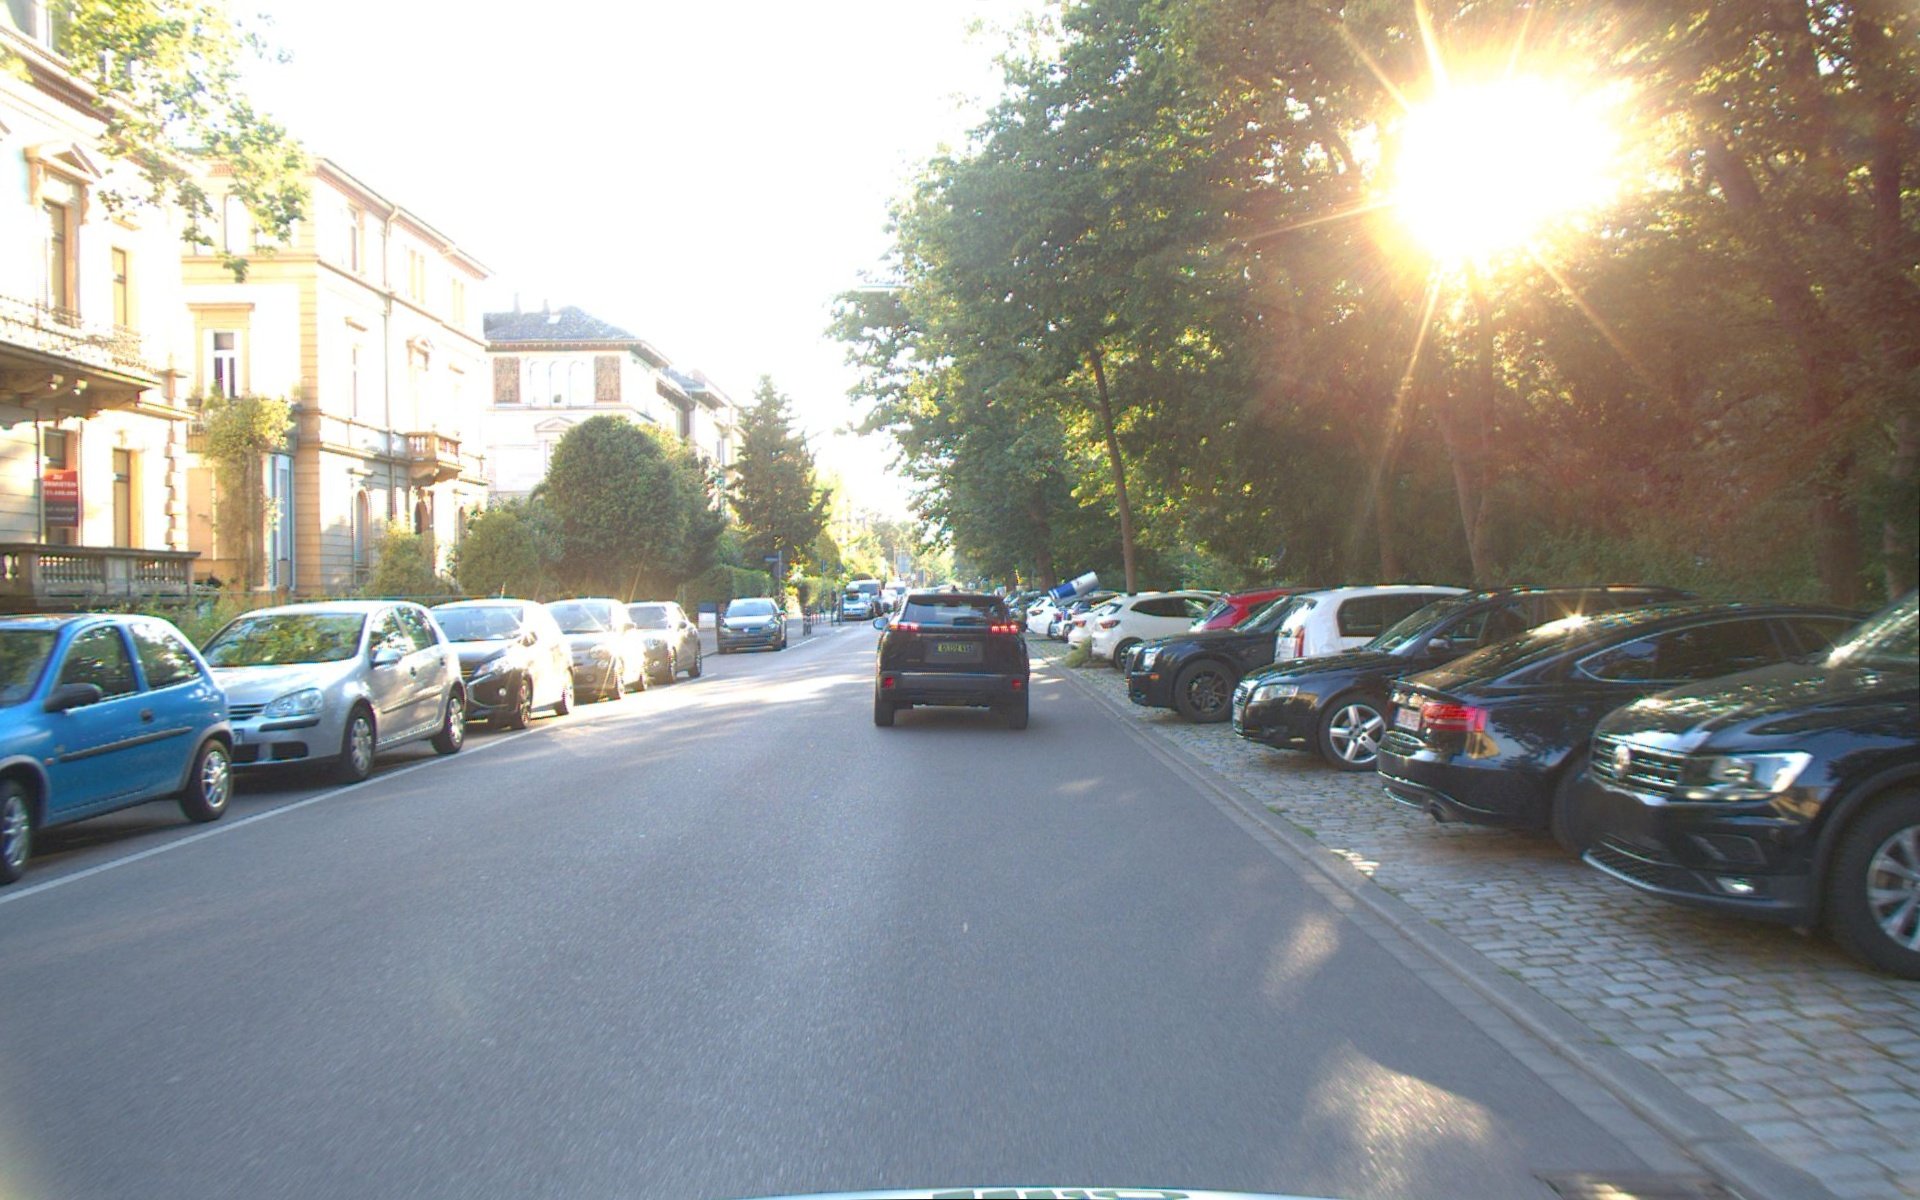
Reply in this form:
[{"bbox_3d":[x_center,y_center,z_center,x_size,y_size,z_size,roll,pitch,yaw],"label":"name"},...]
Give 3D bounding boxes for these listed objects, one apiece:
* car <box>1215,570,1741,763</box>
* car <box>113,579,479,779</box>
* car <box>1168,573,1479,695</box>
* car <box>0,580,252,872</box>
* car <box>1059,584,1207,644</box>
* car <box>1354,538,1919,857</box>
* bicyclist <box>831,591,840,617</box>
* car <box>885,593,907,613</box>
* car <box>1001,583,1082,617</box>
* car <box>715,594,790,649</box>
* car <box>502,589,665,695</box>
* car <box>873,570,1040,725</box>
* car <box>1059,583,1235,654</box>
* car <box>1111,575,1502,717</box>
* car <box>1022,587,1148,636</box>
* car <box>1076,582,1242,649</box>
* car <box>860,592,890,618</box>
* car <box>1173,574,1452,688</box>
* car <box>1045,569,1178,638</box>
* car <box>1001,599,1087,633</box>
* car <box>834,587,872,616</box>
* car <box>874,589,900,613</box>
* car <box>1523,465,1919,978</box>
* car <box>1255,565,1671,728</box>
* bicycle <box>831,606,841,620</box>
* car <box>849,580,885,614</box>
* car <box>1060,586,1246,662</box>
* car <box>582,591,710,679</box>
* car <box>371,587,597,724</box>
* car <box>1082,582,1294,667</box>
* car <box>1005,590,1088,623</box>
[{"bbox_3d":[4.399,0.559,14.531,4.070,1.474,1.731,-2,0,3],"label":"car"},{"bbox_3d":[-5.626,0.609,14.578,1.580,1.492,4.035,-1,0,0],"label":"car"},{"bbox_3d":[4.870,0.443,22.504,3.733,1.474,1.875,-2,0,-5],"label":"car"},{"bbox_3d":[-5.776,0.671,9.801,1.581,1.511,3.741,-1,0,-1],"label":"car"},{"bbox_3d":[4.838,0.391,46.606,3.909,1.653,1.756,0,0,-5],"label":"car"},{"bbox_3d":[4.477,0.491,9.629,3.906,1.581,1.725,-2,0,-1],"label":"car"},{"bbox_3d":[-8.948,0.290,118.995,0.679,1.823,0.772,0,-1,-3],"label":"bicyclist"},{"bbox_3d":[-5.929,0.268,153.533,1.953,1.847,3.999,0,0,-1],"label":"car"},{"bbox_3d":[4.004,0.016,81.665,3.905,1.652,1.758,0,0,1],"label":"car"},{"bbox_3d":[-5.827,0.586,46.847,1.717,1.438,3.763,-2,0,-2],"label":"car"},{"bbox_3d":[-5.751,0.616,25.685,1.580,1.492,4.035,-1,0,0],"label":"car"},{"bbox_3d":[-0.137,0.506,19.782,1.736,1.596,4.106,2,0,-3],"label":"car"},{"bbox_3d":[4.421,0.428,39.492,3.909,1.653,1.756,0,0,-5],"label":"car"},{"bbox_3d":[4.015,0.521,19.696,4.158,1.474,2.020,-2,0,-3],"label":"car"},{"bbox_3d":[4.075,0.374,54.282,3.909,1.552,1.756,0,0,-5],"label":"car"},{"bbox_3d":[5.026,0.389,42.049,3.909,1.653,1.756,0,0,-5],"label":"car"},{"bbox_3d":[-5.890,0.365,114.667,1.953,1.799,3.999,0,0,-1],"label":"car"},{"bbox_3d":[5.268,0.460,25.016,3.733,1.536,1.824,-2,0,-5],"label":"car"},{"bbox_3d":[4.696,0.106,51.523,3.909,2.126,1.756,0,0,-5],"label":"car"},{"bbox_3d":[3.882,0.731,76.661,3.905,1.552,1.758,0,0,1],"label":"car"},{"bbox_3d":[-5.944,0.103,92.182,1.861,1.601,3.999,0,0,-1],"label":"car"},{"bbox_3d":[-5.748,0.101,130.454,1.953,1.847,3.999,0,0,-1],"label":"car"},{"bbox_3d":[4.791,0.375,6.945,4.159,1.820,1.883,-2,0,-1],"label":"car"},{"bbox_3d":[5.050,0.458,17.025,3.728,1.474,1.827,-2,0,3],"label":"car"},{"bbox_3d":[-8.956,0.937,119.021,0.678,1.033,2.047,0,0,-3],"label":"bicycle"},{"bbox_3d":[-5.752,-0.190,102.801,1.952,2.049,4.000,0,0,1],"label":"car"},{"bbox_3d":[4.305,0.532,37.218,3.909,1.653,1.756,0,0,-5],"label":"car"},{"bbox_3d":[-5.720,0.619,30.545,1.580,1.492,4.035,-1,0,0],"label":"car"},{"bbox_3d":[-5.721,0.621,20.351,1.580,1.492,4.035,-1,0,0],"label":"car"},{"bbox_3d":[4.354,0.458,31.948,3.733,1.474,1.824,-2,0,-5],"label":"car"},{"bbox_3d":[4.133,0.306,79.423,3.905,1.552,1.758,0,0,1],"label":"car"}]
